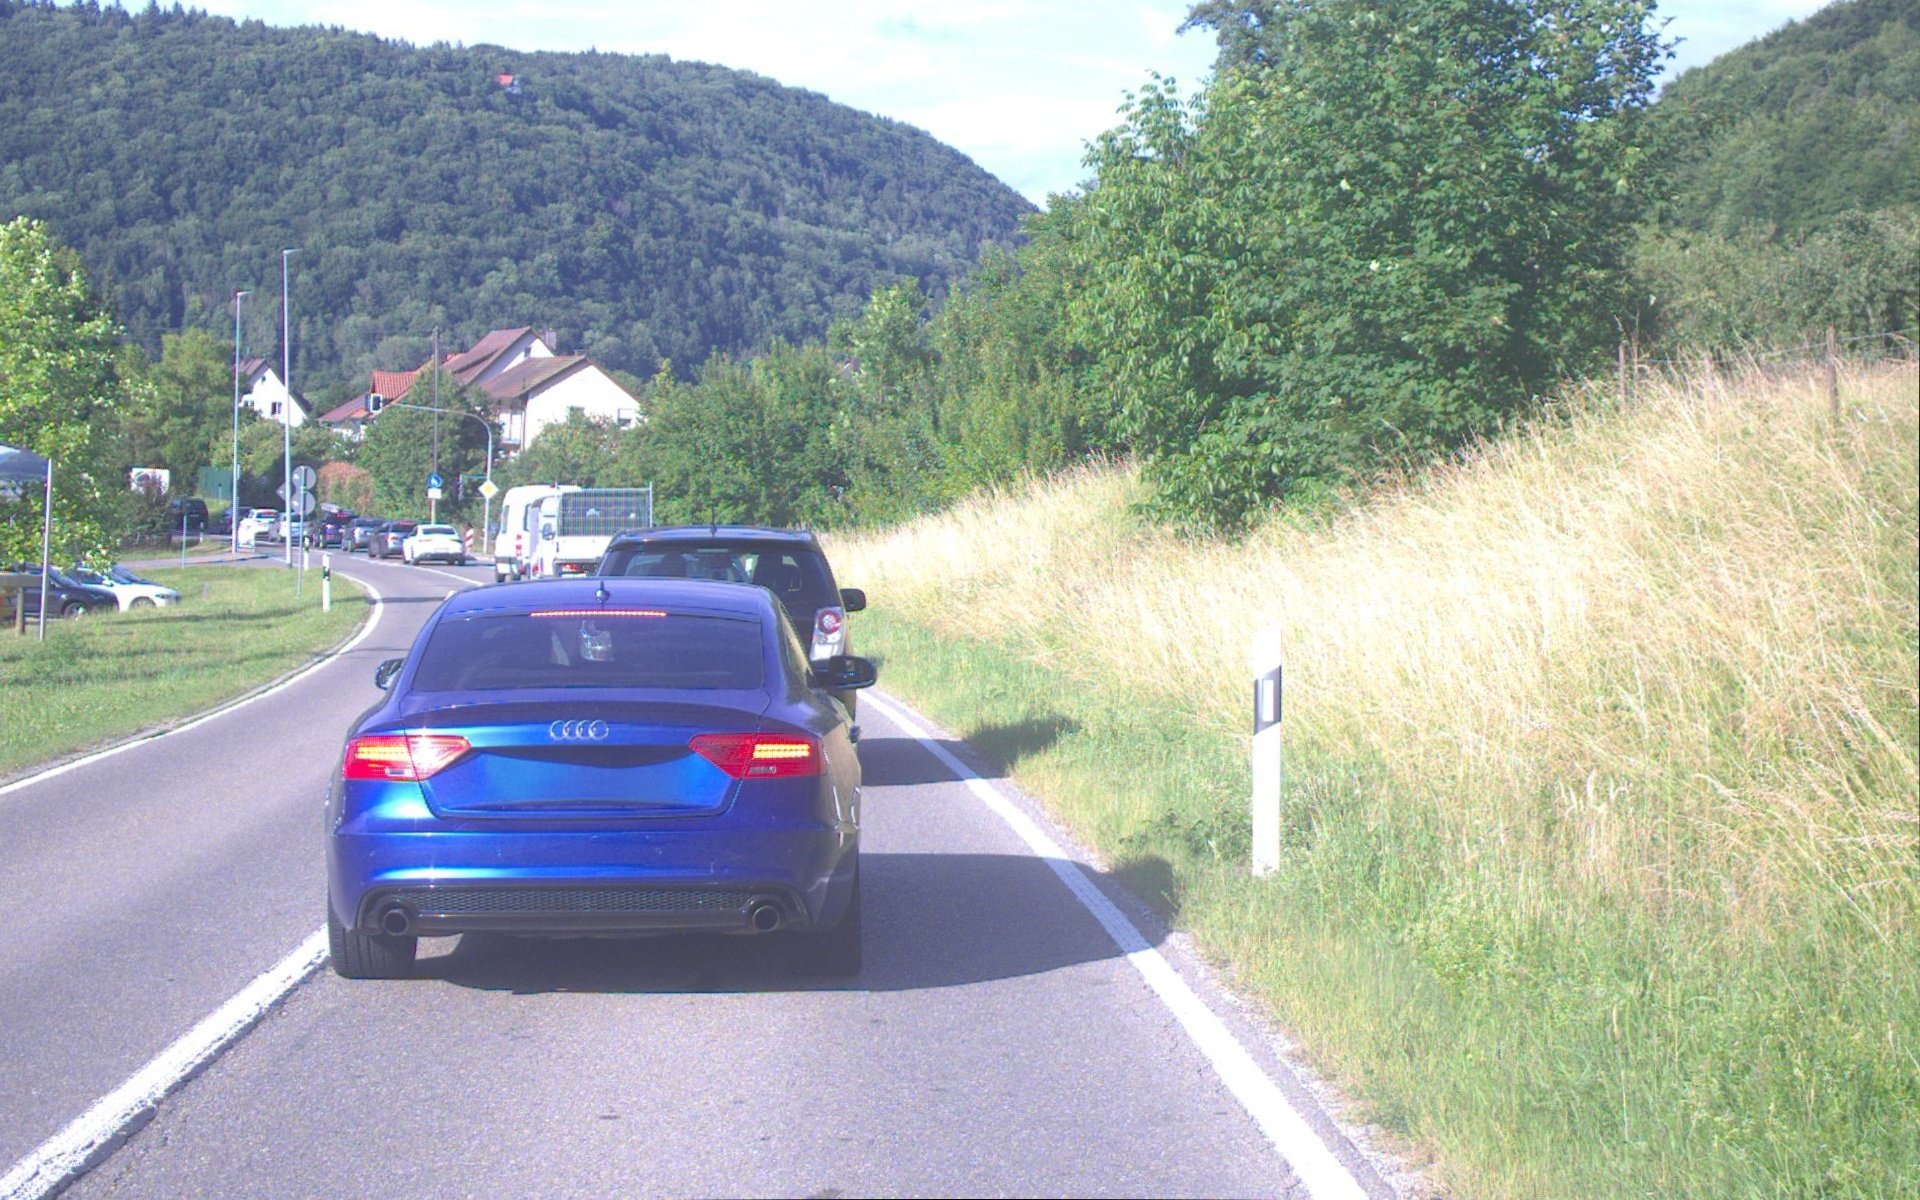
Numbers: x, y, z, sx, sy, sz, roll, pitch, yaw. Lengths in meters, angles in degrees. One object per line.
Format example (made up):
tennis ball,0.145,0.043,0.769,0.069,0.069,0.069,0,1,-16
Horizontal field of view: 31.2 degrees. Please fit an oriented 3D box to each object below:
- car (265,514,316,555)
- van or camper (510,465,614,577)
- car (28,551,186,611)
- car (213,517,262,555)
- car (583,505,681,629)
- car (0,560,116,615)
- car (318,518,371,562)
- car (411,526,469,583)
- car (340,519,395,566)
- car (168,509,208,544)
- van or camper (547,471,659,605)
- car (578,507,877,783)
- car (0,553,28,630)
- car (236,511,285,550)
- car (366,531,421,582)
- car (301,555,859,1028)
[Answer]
car,-32.244,-3.126,165.546,1.676,1.918,4.001,-1,1,-21
van or camper,-10.054,-1.958,86.591,2.280,2.704,5.769,-1,1,-9
car,-24.193,-0.544,97.587,4.036,1.655,1.655,0,1,4
car,-38.313,-3.385,182.213,1.954,1.918,4.001,-1,1,-20
car,-5.546,-0.587,58.253,1.567,2.007,4.001,-1,1,-5
car,-24.953,-0.340,93.218,3.713,1.434,1.509,0,1,4
car,-27.570,-2.666,153.940,1.676,1.918,4.001,-1,1,-19
car,-18.229,-1.599,120.370,1.659,1.918,4.001,-1,1,-13
car,-24.857,-2.390,144.170,1.659,1.918,4.001,-1,1,-18
car,-43.501,-4.110,193.716,1.676,1.918,4.001,-1,1,-20
van or camper,-7.096,-1.214,67.863,2.051,2.497,5.813,-1,1,-7
car,-1.581,0.238,22.302,1.645,1.619,3.518,1,1,-8
car,-25.051,-0.181,83.010,4.554,1.809,1.840,0,-2,4
car,-35.509,-3.537,174.577,1.676,1.918,4.001,-1,1,-22
car,-21.825,-1.678,132.330,1.659,1.918,4.001,-1,1,-15
car,-1.329,0.583,12.666,1.742,1.445,3.517,-1,1,-4
